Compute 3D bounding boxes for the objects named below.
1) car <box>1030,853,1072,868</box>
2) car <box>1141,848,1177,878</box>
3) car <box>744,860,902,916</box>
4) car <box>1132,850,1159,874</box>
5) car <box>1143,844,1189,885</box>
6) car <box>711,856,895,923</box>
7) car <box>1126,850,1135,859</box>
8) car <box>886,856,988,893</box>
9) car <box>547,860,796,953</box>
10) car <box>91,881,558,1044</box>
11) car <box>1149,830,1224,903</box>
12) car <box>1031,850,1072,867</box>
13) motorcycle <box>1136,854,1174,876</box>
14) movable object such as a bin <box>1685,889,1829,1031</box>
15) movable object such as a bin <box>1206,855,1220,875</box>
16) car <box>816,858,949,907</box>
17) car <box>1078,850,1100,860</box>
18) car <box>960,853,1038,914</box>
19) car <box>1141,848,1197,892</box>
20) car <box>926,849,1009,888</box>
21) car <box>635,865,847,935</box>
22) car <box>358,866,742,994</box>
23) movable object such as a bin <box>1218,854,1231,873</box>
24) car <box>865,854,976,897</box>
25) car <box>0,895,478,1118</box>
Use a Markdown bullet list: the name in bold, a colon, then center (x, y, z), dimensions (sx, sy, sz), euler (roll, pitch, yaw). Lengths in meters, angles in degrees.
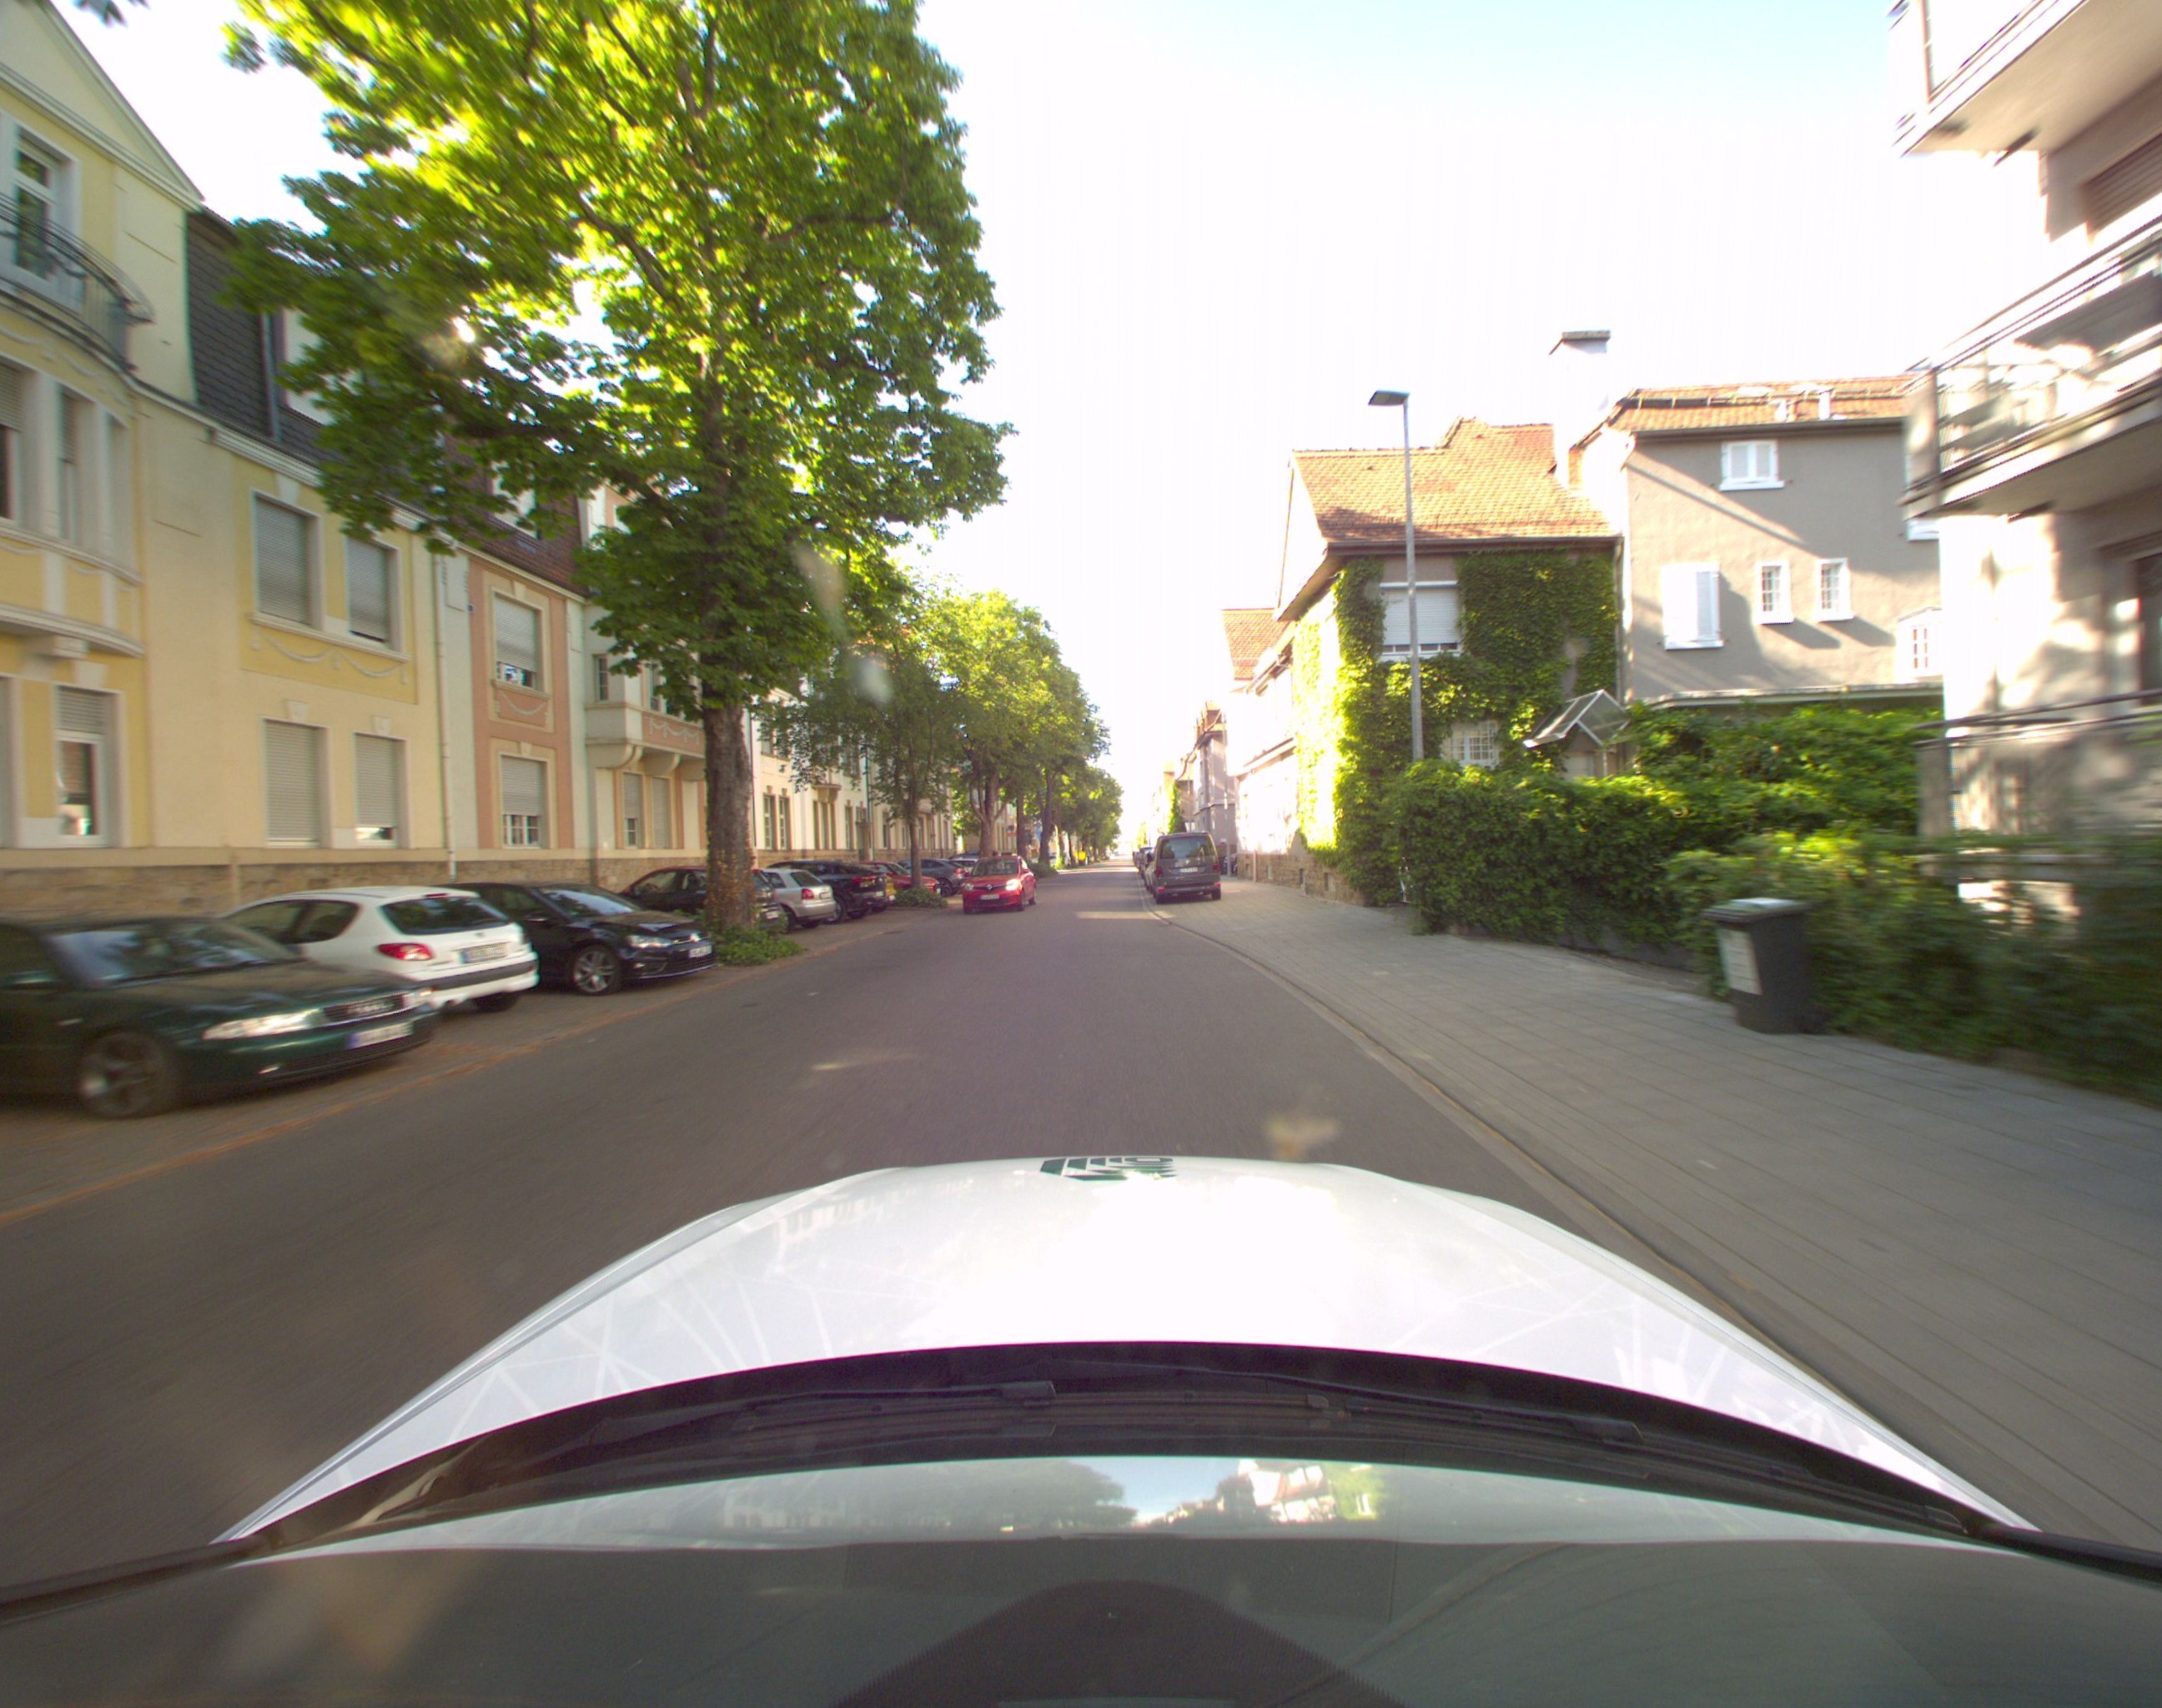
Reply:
- **car**: center (-2.897, 0.613, 79.508), dimensions (3.975, 1.464, 1.797), euler (0, -1, -1)
- **car**: center (4.403, 0.490, 46.660), dimensions (1.846, 1.493, 4.613), euler (-4, 0, 4)
- **car**: center (-7.194, 0.929, 22.976), dimensions (3.773, 1.462, 1.865), euler (-1, 0, 4)
- **car**: center (4.652, 0.567, 59.230), dimensions (1.693, 1.539, 4.157), euler (-5, 0, 1)
- **car**: center (3.733, 0.461, 36.321), dimensions (1.781, 1.600, 4.004), euler (-5, -1, 4)
- **car**: center (-6.978, 0.864, 20.720), dimensions (3.969, 1.566, 1.865), euler (-1, 0, 4)
- **car**: center (10.166, 0.118, 167.141), dimensions (1.763, 1.631, 3.871), euler (-2, 0, 4)
- **car**: center (-6.102, 0.873, 34.772), dimensions (3.881, 1.446, 1.863), euler (-1, 0, 7)
- **car**: center (-7.935, 0.994, 15.994), dimensions (3.969, 1.508, 1.724), euler (-3, 0, 4)
- **car**: center (-7.741, 1.066, 8.552), dimensions (3.417, 1.452, 1.705), euler (-2, -1, 5)
- **car**: center (3.126, 0.334, 25.006), dimensions (1.857, 1.916, 4.787), euler (-4, 0, 3)
- **car**: center (-2.937, 0.444, 81.785), dimensions (3.975, 1.761, 1.797), euler (0, -1, -1)
- **motorcycle**: center (4.696, 0.679, 51.586), dimensions (2.203, 1.339, 0.914), euler (0, 1, -24)
- **movable object such as a bin**: center (4.892, 0.747, 5.927), dimensions (0.501, 0.915, 0.574), euler (-6, 0, 5)
- **movable object such as a bin**: center (7.341, 0.605, 45.341), dimensions (0.645, 1.039, 0.828), euler (-3, 0, 1)
- **car**: center (-6.619, 0.941, 27.434), dimensions (3.971, 1.514, 1.748), euler (-2, -1, 2)
- **car**: center (1.587, 0.111, 152.937), dimensions (3.987, 1.841, 2.003), euler (0, 1, 5)
- **car**: center (-2.276, 0.776, 23.458), dimensions (1.634, 1.508, 3.705), euler (-3, 0, 3)
- **car**: center (3.277, 0.569, 31.032), dimensions (1.673, 1.457, 4.439), euler (-3, 0, 1)
- **car**: center (-5.831, 0.748, 42.127), dimensions (3.964, 1.855, 1.830), euler (-2, 0, 1)
- **car**: center (-7.543, 1.003, 18.318), dimensions (3.969, 1.403, 1.832), euler (-1, 0, 4)
- **car**: center (-6.911, 0.955, 10.876), dimensions (3.969, 1.482, 1.787), euler (-1, 0, 4)
- **movable object such as a bin**: center (8.006, 0.538, 45.472), dimensions (0.566, 1.039, 0.618), euler (-3, 0, 1)
- **car**: center (-6.331, 0.828, 32.443), dimensions (3.971, 1.592, 1.860), euler (-1, 0, 2)
- **car**: center (-7.316, 1.075, 6.205), dimensions (4.195, 1.349, 1.704), euler (-2, -1, 2)
